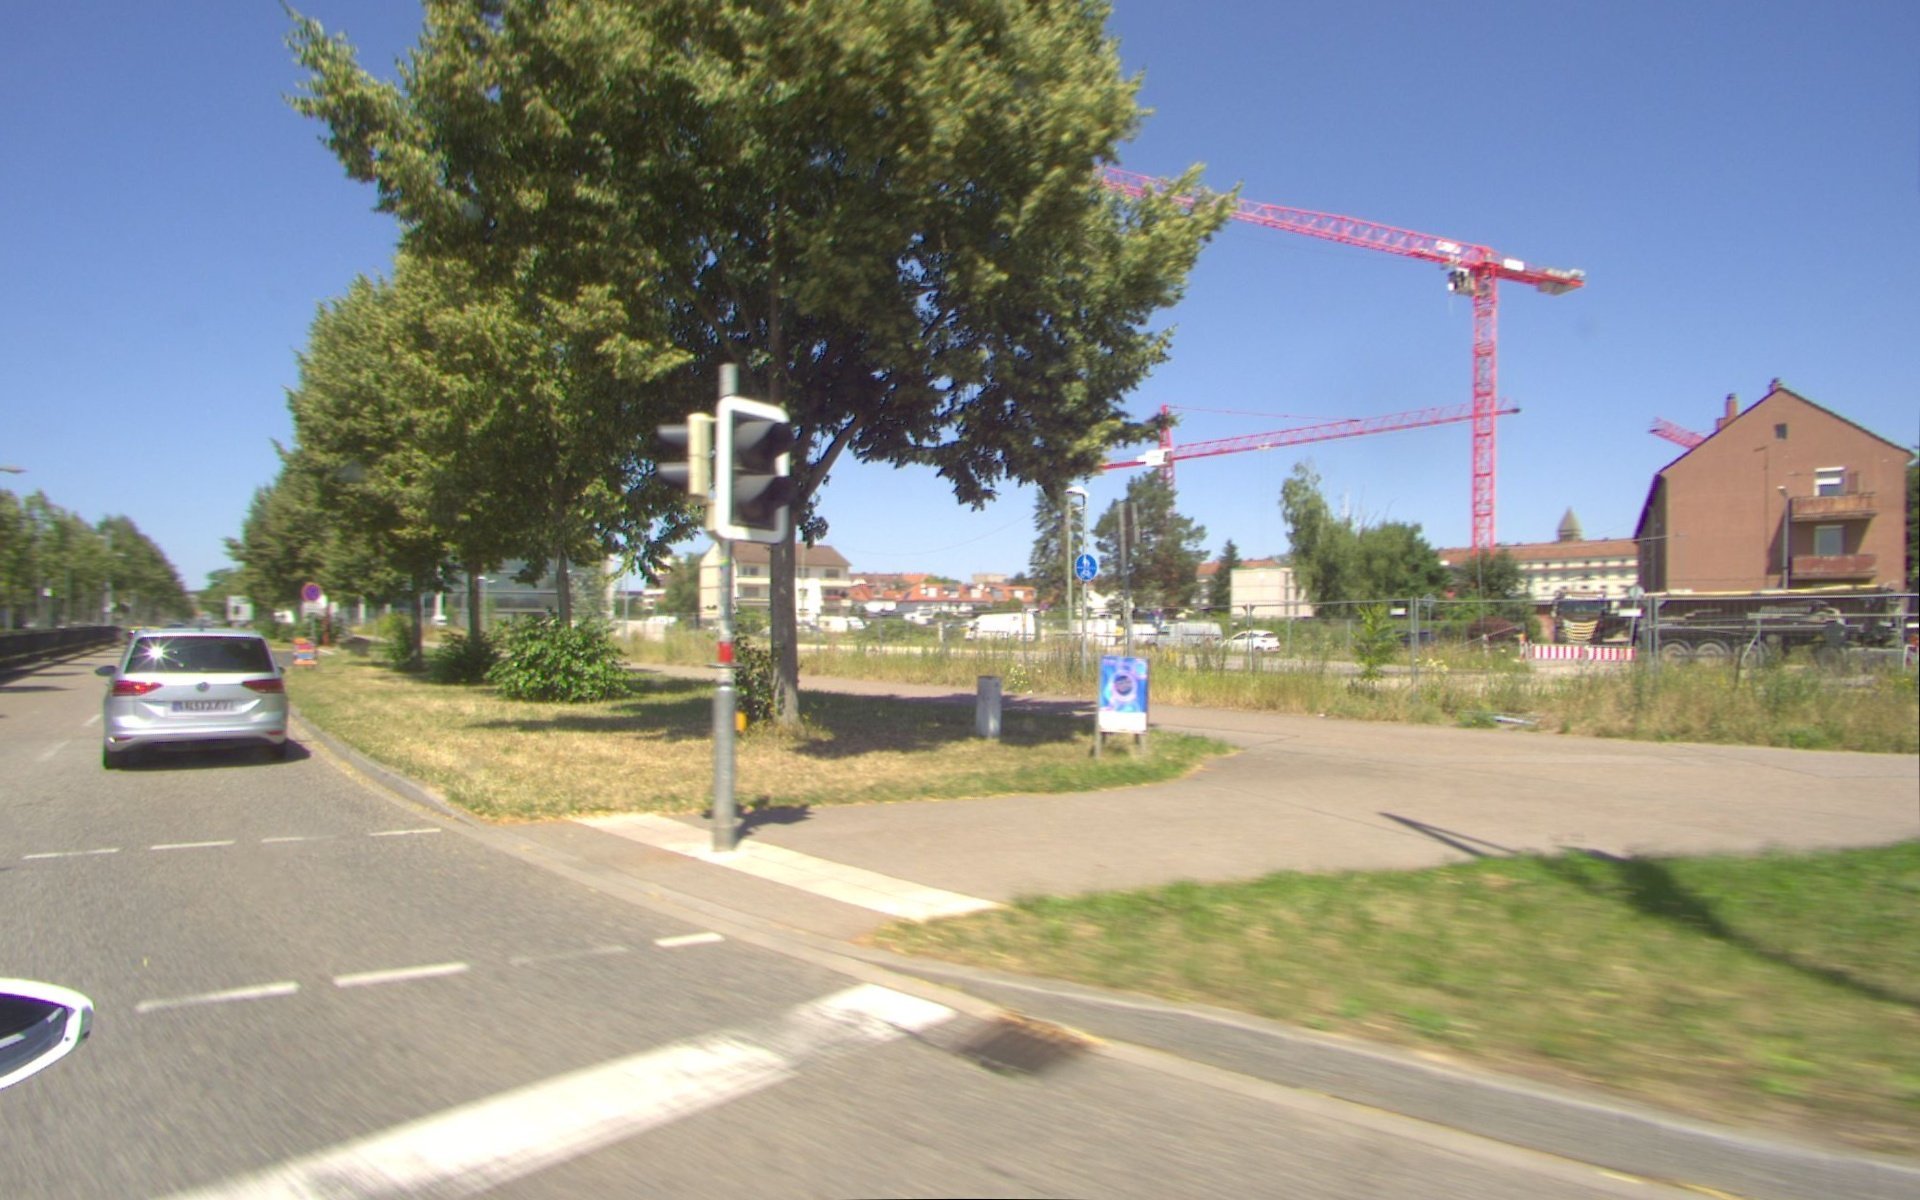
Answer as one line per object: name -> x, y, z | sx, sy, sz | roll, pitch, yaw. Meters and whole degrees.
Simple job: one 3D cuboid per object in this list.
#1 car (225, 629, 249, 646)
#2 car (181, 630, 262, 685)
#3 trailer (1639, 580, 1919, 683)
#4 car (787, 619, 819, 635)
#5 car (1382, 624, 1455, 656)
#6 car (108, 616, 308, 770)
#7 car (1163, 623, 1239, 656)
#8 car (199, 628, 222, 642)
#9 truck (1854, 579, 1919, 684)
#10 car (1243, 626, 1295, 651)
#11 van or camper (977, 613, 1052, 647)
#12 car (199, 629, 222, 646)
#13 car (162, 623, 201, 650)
car -> -70.757, 3.669, 97.975 | 1.751, 1.648, 3.688 | 1, -2, -37
car -> -22.331, 1.672, 30.356 | 1.835, 1.455, 4.920 | 1, -1, -36
trailer -> 32.260, 1.199, 39.223 | 3.120, 3.578, 8.944 | 1, -1, -31
car -> -16.354, 2.833, 104.054 | 1.662, 1.606, 3.591 | 0, -2, -41
car -> 24.765, 2.135, 54.118 | 1.353, 1.634, 3.394 | 1, -1, -36
car -> -9.961, 1.109, 13.186 | 1.787, 1.669, 4.567 | 2, -3, -39
car -> 15.801, 2.549, 65.779 | 1.768, 2.040, 4.636 | 1, -1, -44
car -> -84.724, 3.966, 113.143 | 1.848, 1.483, 3.968 | 0, -2, -40
truck -> 34.324, 1.089, 34.126 | 3.104, 3.578, 4.964 | 0, -1, -7
car -> 19.005, 2.339, 61.702 | 1.401, 1.424, 2.770 | -1, 1, -37
van or camper -> 4.262, 2.389, 80.055 | 1.908, 2.635, 6.948 | 1, -1, -38
car -> -72.784, 3.597, 97.250 | 1.751, 1.648, 3.688 | 1, -2, -37
car -> -43.388, 2.052, 55.869 | 1.604, 1.470, 3.959 | 0, -2, -36
